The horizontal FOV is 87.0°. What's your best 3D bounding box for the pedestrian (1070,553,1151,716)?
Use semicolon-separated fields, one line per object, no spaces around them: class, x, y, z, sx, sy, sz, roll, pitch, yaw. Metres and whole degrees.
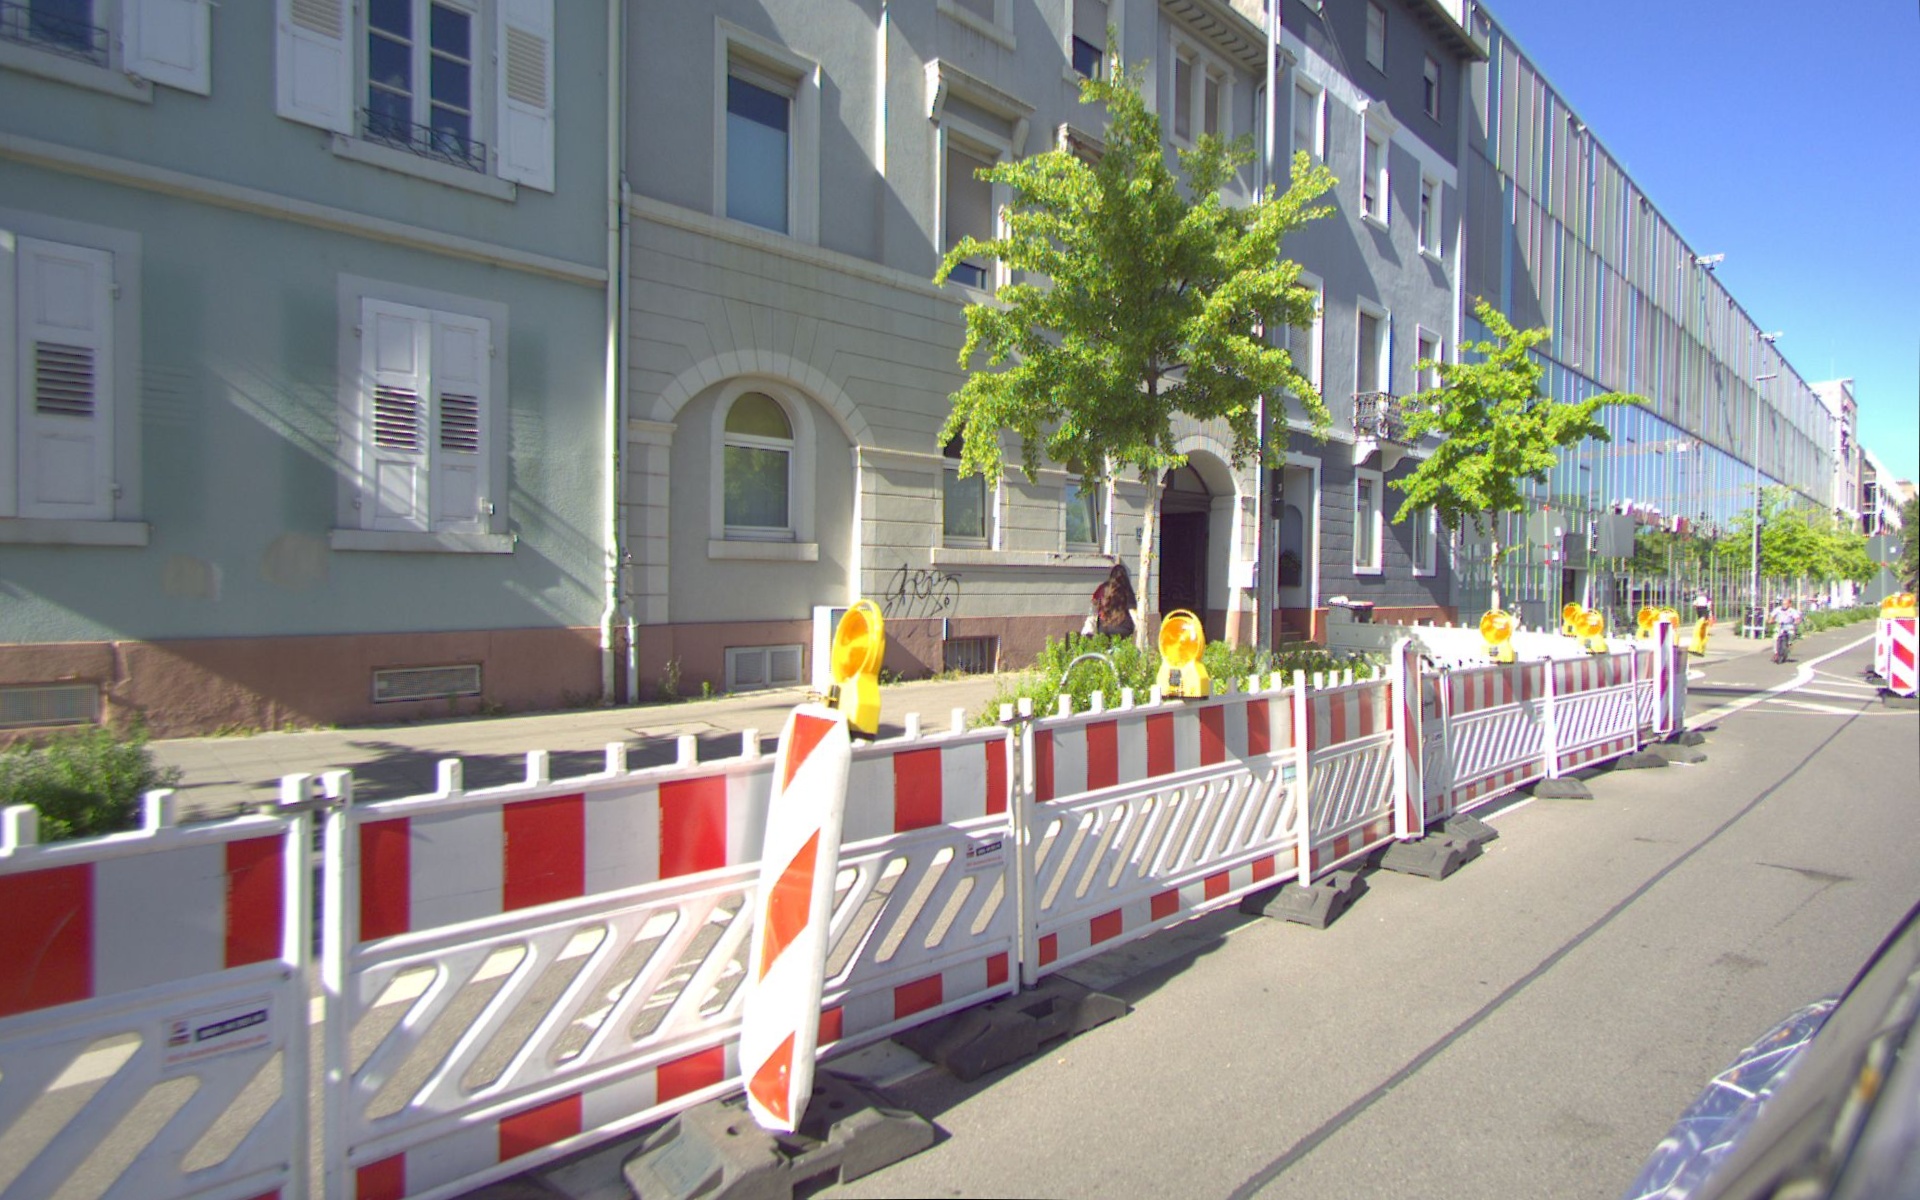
pedestrian;1.887;0.409;12.642;0.789;1.953;0.762;0;0;30

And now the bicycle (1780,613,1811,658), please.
bicycle;23.175;0.962;28.063;0.608;1.165;1.958;-1;0;41

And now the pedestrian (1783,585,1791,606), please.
pedestrian;63.659;-0.351;77.859;0.282;1.620;0.449;0;0;-44

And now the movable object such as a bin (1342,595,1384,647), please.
movable object such as a bin;8.628;0.434;21.663;0.692;1.096;0.604;0;0;-43

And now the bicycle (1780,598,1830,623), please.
bicycle;39.717;0.496;47.588;1.727;1.075;0.462;4;2;31

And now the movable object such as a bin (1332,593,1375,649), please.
movable object such as a bin;8.159;0.423;20.987;0.692;1.122;0.589;0;0;-43

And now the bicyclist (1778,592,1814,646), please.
bicyclist;23.176;0.516;28.059;0.753;1.480;0.579;0;1;41

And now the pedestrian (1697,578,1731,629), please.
pedestrian;30.436;0.116;40.842;0.881;1.947;0.876;-3;5;-44

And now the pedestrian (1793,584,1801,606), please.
pedestrian;64.076;-0.387;77.446;0.339;1.712;0.449;0;0;-44
